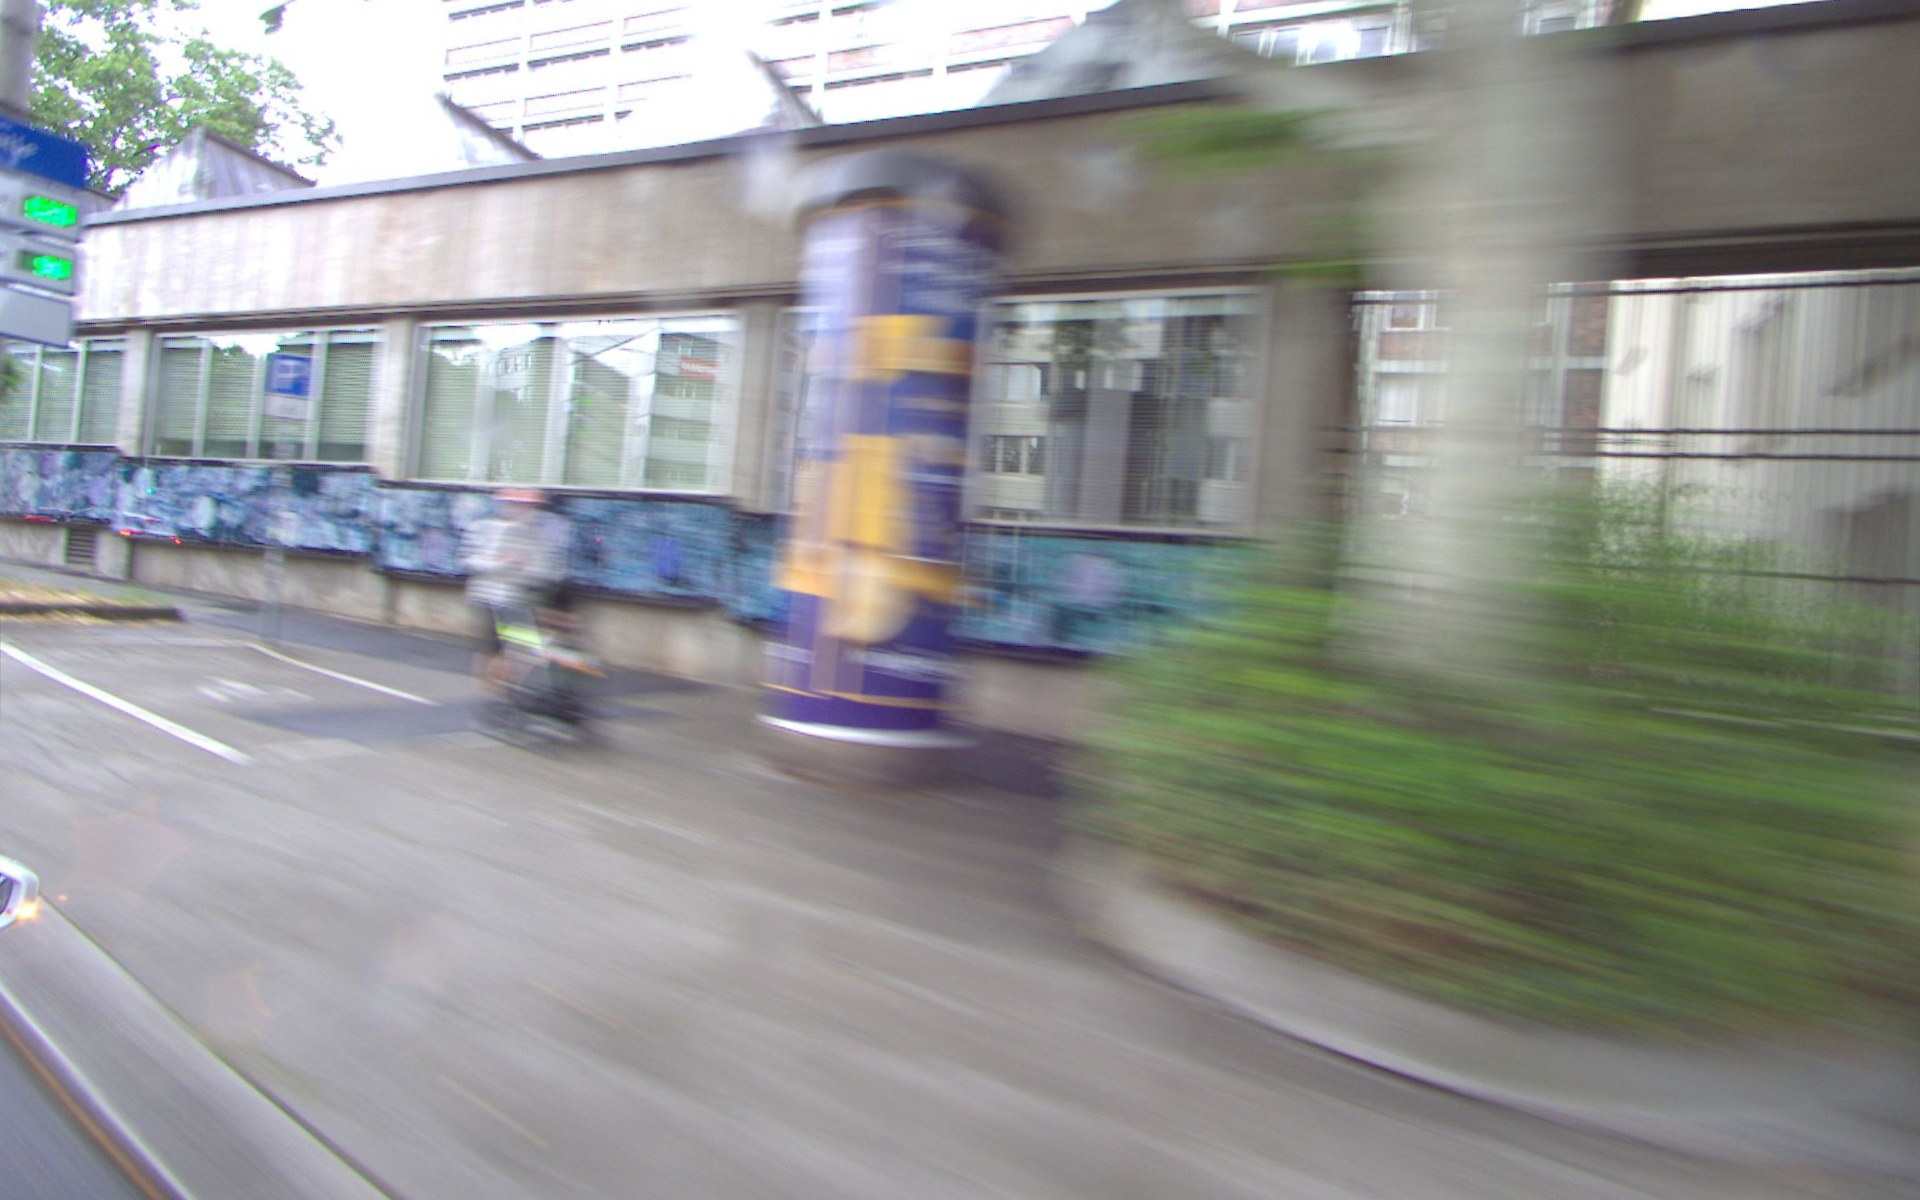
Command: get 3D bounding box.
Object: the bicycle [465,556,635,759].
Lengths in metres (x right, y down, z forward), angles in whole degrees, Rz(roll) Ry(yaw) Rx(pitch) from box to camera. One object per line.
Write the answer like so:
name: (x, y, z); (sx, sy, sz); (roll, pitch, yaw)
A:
bicycle: (-2.813, 0.375, 6.890); (0.897, 1.236, 0.618); (7, 2, 38)

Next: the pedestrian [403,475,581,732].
pedestrian: (-3.512, 0.007, 7.543); (1.003, 1.765, 0.717); (8, 3, 37)
